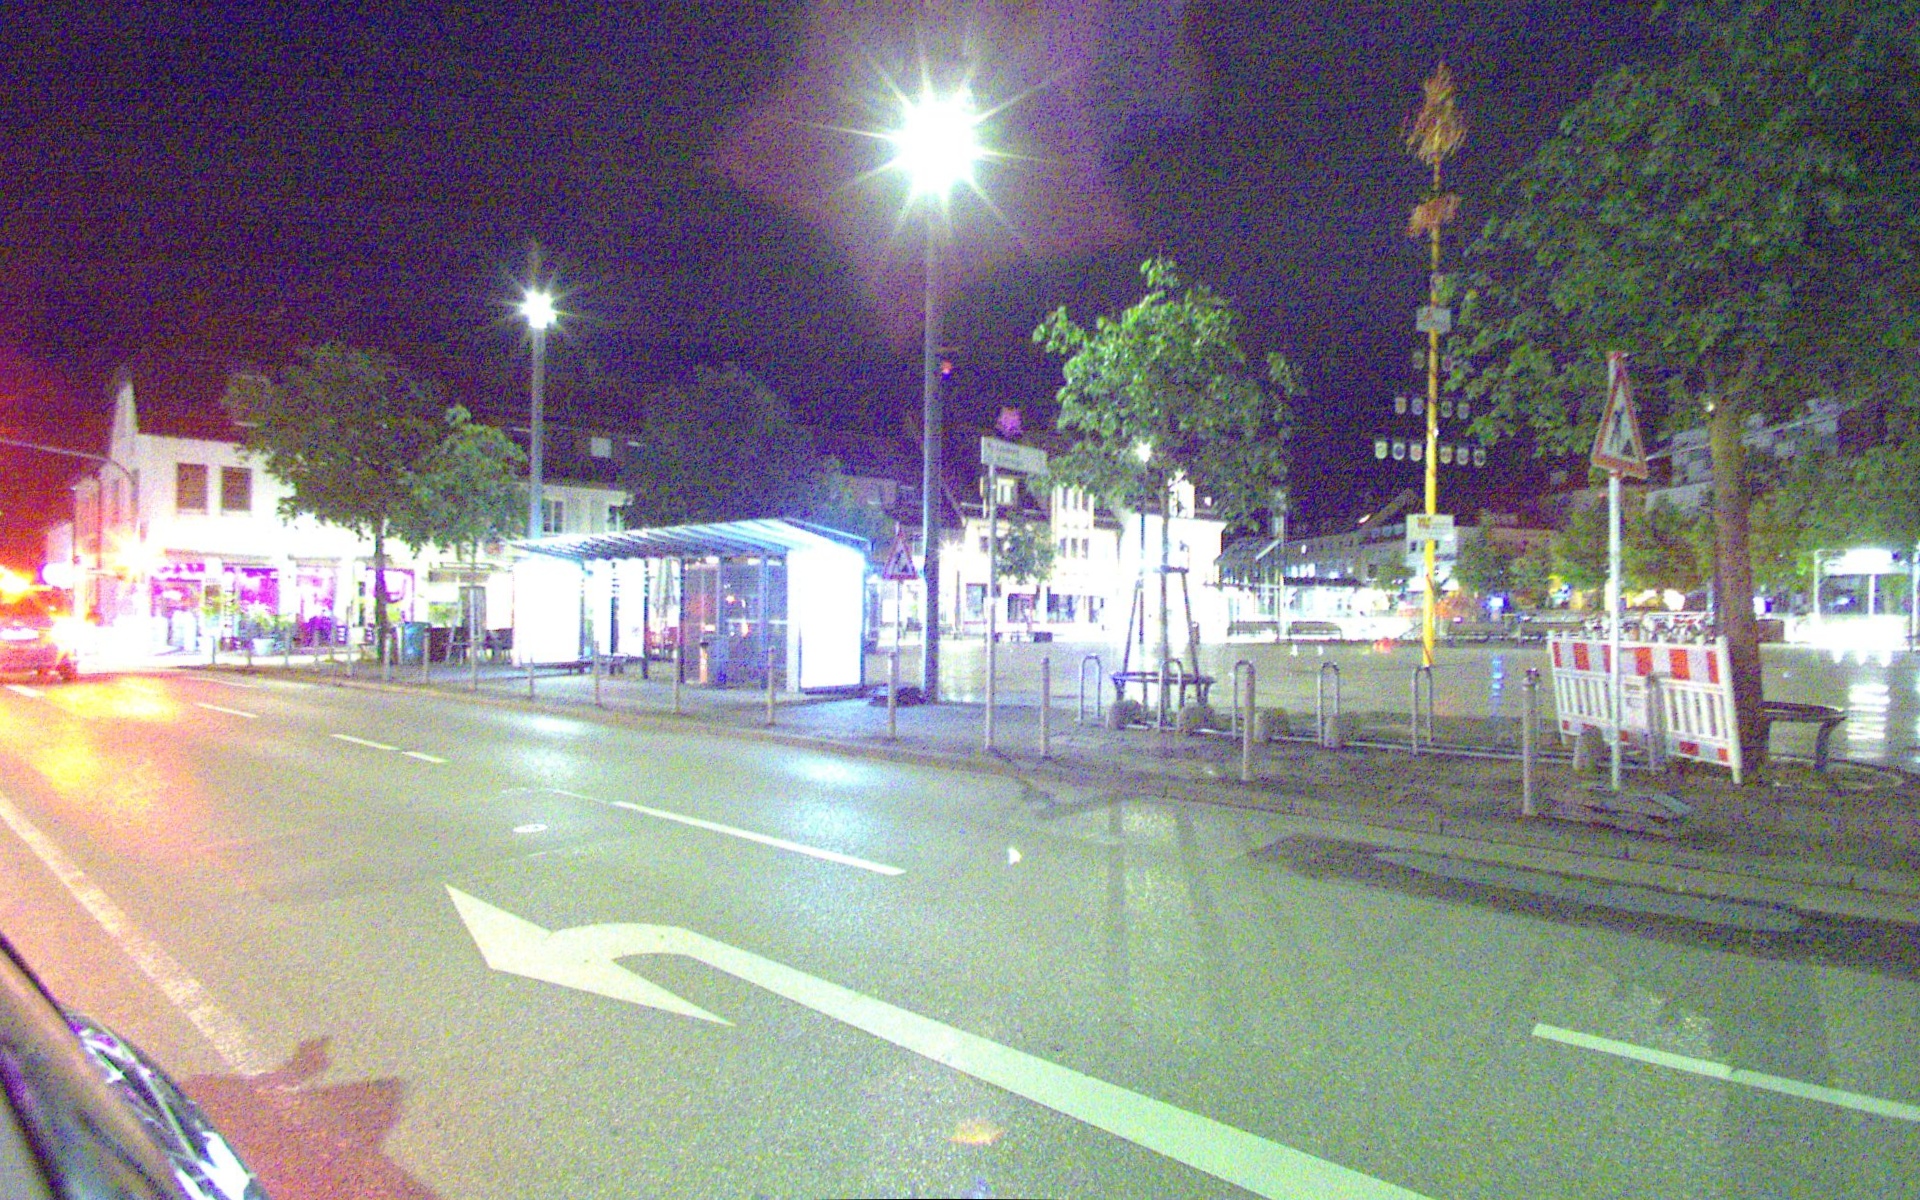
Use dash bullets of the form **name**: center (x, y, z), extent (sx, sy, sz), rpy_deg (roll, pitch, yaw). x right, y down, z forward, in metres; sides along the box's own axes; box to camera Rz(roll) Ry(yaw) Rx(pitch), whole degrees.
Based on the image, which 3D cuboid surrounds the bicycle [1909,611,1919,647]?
- **bicycle**: center (26.405, 0.770, 26.975), extent (1.525, 0.965, 0.476), rpy_deg (-1, 0, 25)

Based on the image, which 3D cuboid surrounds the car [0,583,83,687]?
- **car**: center (-19.056, 0.658, 19.972), extent (4.909, 1.886, 1.946), rpy_deg (-1, -1, 41)

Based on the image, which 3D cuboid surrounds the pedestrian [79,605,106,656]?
- **pedestrian**: center (-28.522, 1.006, 33.277), extent (0.637, 1.640, 0.584), rpy_deg (-1, 0, -39)
